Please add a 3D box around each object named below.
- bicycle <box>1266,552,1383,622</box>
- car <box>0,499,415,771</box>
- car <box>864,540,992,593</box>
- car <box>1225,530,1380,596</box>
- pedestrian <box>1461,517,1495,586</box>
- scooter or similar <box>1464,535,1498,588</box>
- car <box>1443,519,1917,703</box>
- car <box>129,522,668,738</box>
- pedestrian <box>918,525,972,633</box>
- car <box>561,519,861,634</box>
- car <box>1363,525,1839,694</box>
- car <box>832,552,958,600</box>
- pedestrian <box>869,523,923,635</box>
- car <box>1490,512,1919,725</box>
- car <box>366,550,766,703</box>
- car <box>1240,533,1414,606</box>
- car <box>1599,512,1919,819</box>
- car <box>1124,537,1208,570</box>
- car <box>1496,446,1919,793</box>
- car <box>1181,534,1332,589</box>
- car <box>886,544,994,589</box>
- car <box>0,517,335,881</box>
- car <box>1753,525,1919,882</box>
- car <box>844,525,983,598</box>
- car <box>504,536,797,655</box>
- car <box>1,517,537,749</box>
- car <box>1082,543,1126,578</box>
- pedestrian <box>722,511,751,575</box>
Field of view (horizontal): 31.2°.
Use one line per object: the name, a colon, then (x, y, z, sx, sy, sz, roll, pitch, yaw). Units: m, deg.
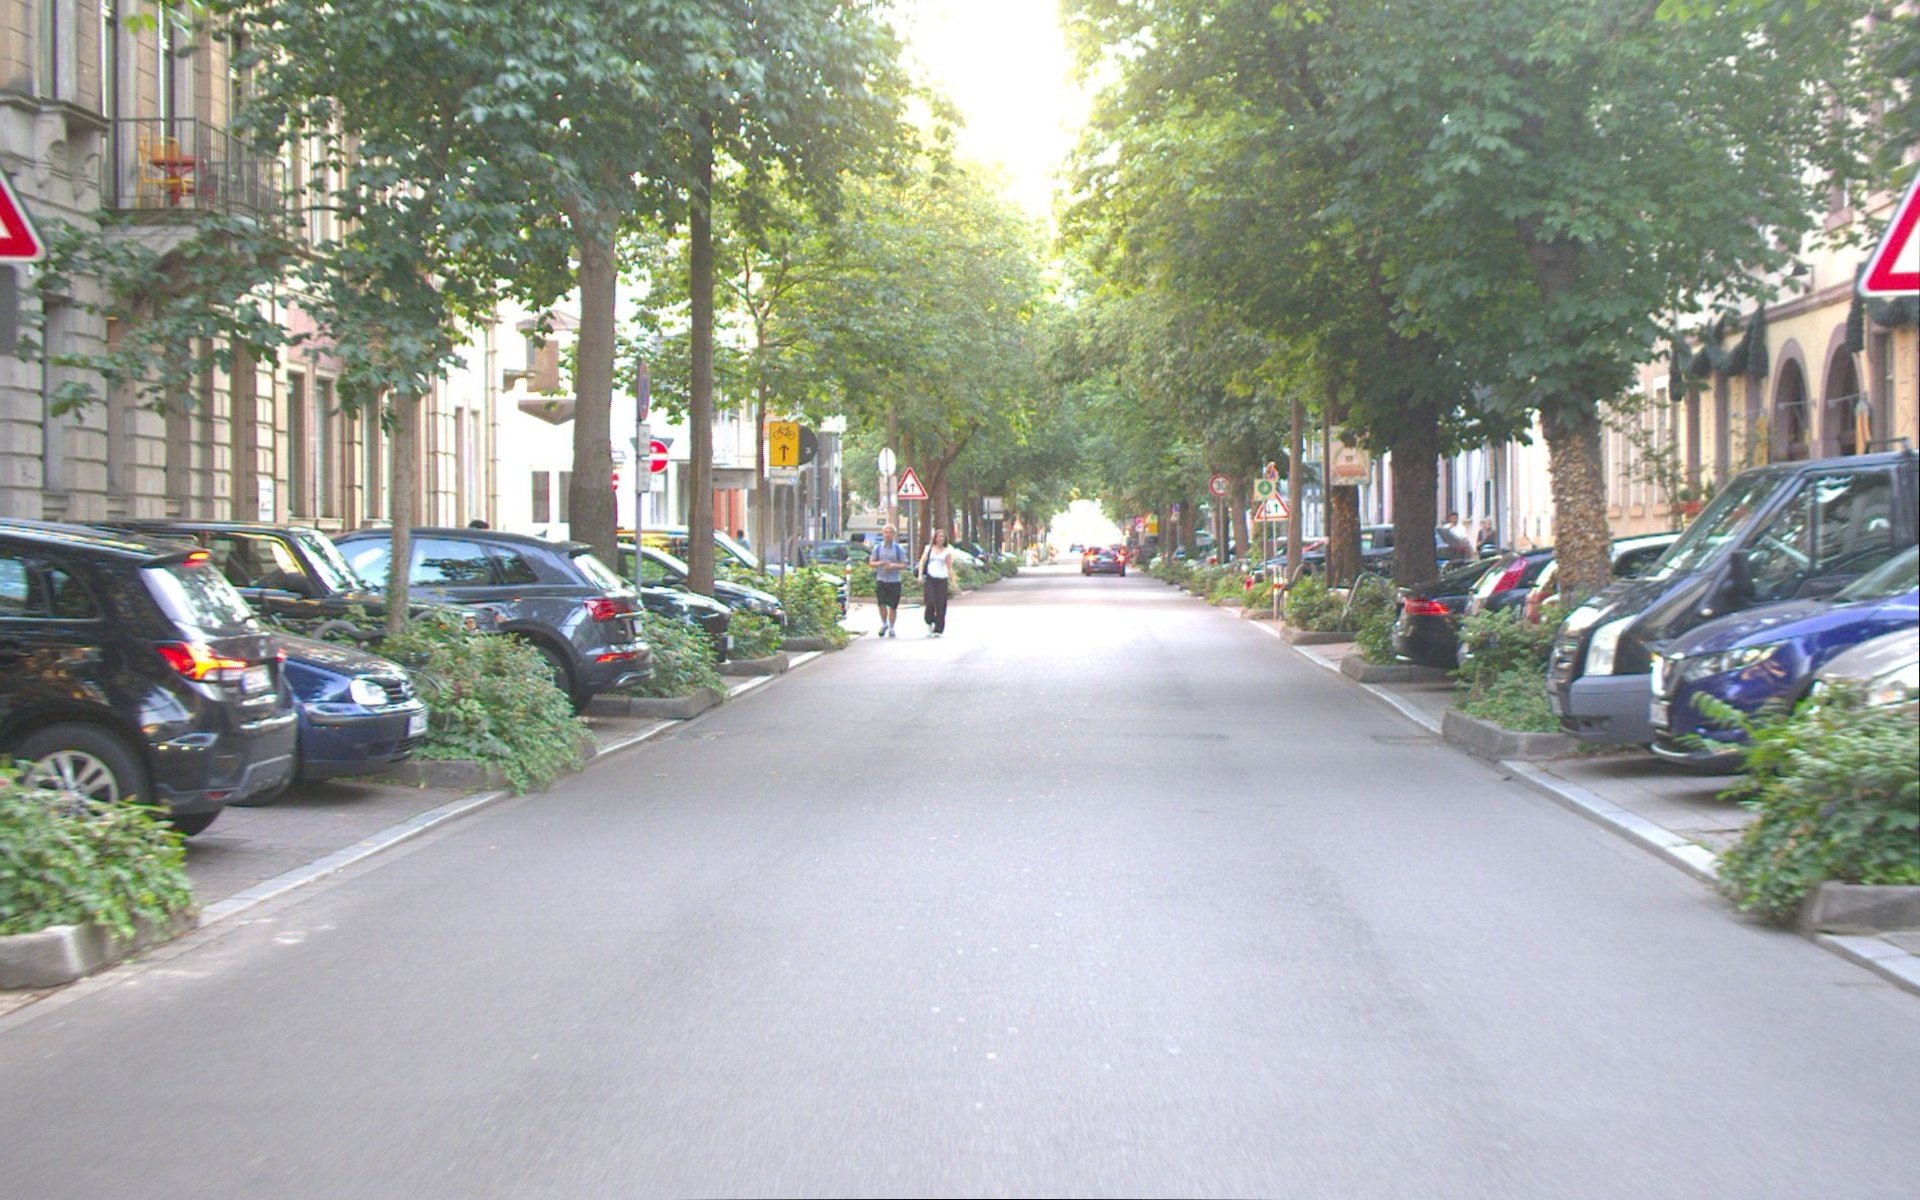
bicycle: (6.205, -0.227, 58.586, 1.837, 1.131, 0.745, -2, 1, -8)
car: (-5.383, 0.132, 20.203, 3.965, 1.382, 1.765, 3, 2, 3)
car: (-1.194, -1.272, 130.091, 4.682, 1.848, 1.963, -2, 0, 2)
car: (8.138, -0.892, 81.914, 3.483, 1.447, 1.899, -2, 1, 0)
pedestrian: (11.610, -1.095, 77.099, 0.655, 1.531, 0.831, -1, 1, 3)
scooter or similar: (11.582, -0.859, 76.404, 0.655, 1.149, 0.831, -1, 1, 3)
car: (6.692, 0.087, 32.292, 3.987, 1.433, 1.926, -4, 1, 1)
car: (-4.716, 0.227, 29.275, 4.201, 1.666, 1.907, 1, 2, 2)
pedestrian: (-0.231, -0.331, 54.014, 0.794, 1.665, 0.831, -1, 1, 1)
car: (-3.837, -0.380, 53.500, 4.426, 1.645, 1.872, 1, 2, 3)
car: (6.426, 0.083, 34.830, 4.400, 1.389, 1.886, -4, 1, 0)
car: (-2.047, -0.777, 109.333, 3.871, 1.481, 1.757, 1, 1, 4)
pedestrian: (-1.001, -0.331, 54.134, 0.794, 1.731, 0.831, -1, 1, 1)
car: (6.566, 0.140, 29.693, 3.680, 1.573, 1.714, -4, 1, 3)
car: (-4.107, 0.256, 36.266, 3.945, 1.527, 1.907, 1, 1, 2)
car: (7.797, -0.665, 73.330, 3.483, 1.447, 1.899, -2, 1, 0)
car: (5.947, 0.261, 19.628, 4.155, 1.573, 1.970, -4, 1, 1)
car: (10.783, -2.446, 180.113, 4.268, 1.560, 1.963, -2, 0, 2)
car: (6.011, 0.034, 22.242, 4.689, 2.004, 2.037, -4, 1, 2)
car: (9.362, -1.232, 108.702, 4.718, 1.704, 1.949, 0, 1, 4)
car: (-0.789, -1.334, 137.804, 4.203, 1.630, 1.963, -2, 0, 2)
car: (-5.267, 0.362, 16.820, 3.965, 1.591, 1.780, 4, 1, 2)
car: (6.015, 0.350, 16.409, 3.965, 1.573, 1.851, -4, 1, 1)
car: (-1.573, -1.328, 117.657, 4.682, 2.469, 2.000, 0, 0, 2)
car: (-4.115, -0.078, 46.105, 3.692, 1.453, 1.873, 1, 2, 2)
car: (-5.344, 0.229, 26.897, 3.801, 1.666, 1.714, 1, 2, 1)
car: (6.659, -1.815, 159.251, 1.956, 1.560, 4.282, -2, 0, 2)
pedestrian: (-6.024, -1.532, 92.663, 0.703, 1.722, 0.905, 0, 0, 2)
